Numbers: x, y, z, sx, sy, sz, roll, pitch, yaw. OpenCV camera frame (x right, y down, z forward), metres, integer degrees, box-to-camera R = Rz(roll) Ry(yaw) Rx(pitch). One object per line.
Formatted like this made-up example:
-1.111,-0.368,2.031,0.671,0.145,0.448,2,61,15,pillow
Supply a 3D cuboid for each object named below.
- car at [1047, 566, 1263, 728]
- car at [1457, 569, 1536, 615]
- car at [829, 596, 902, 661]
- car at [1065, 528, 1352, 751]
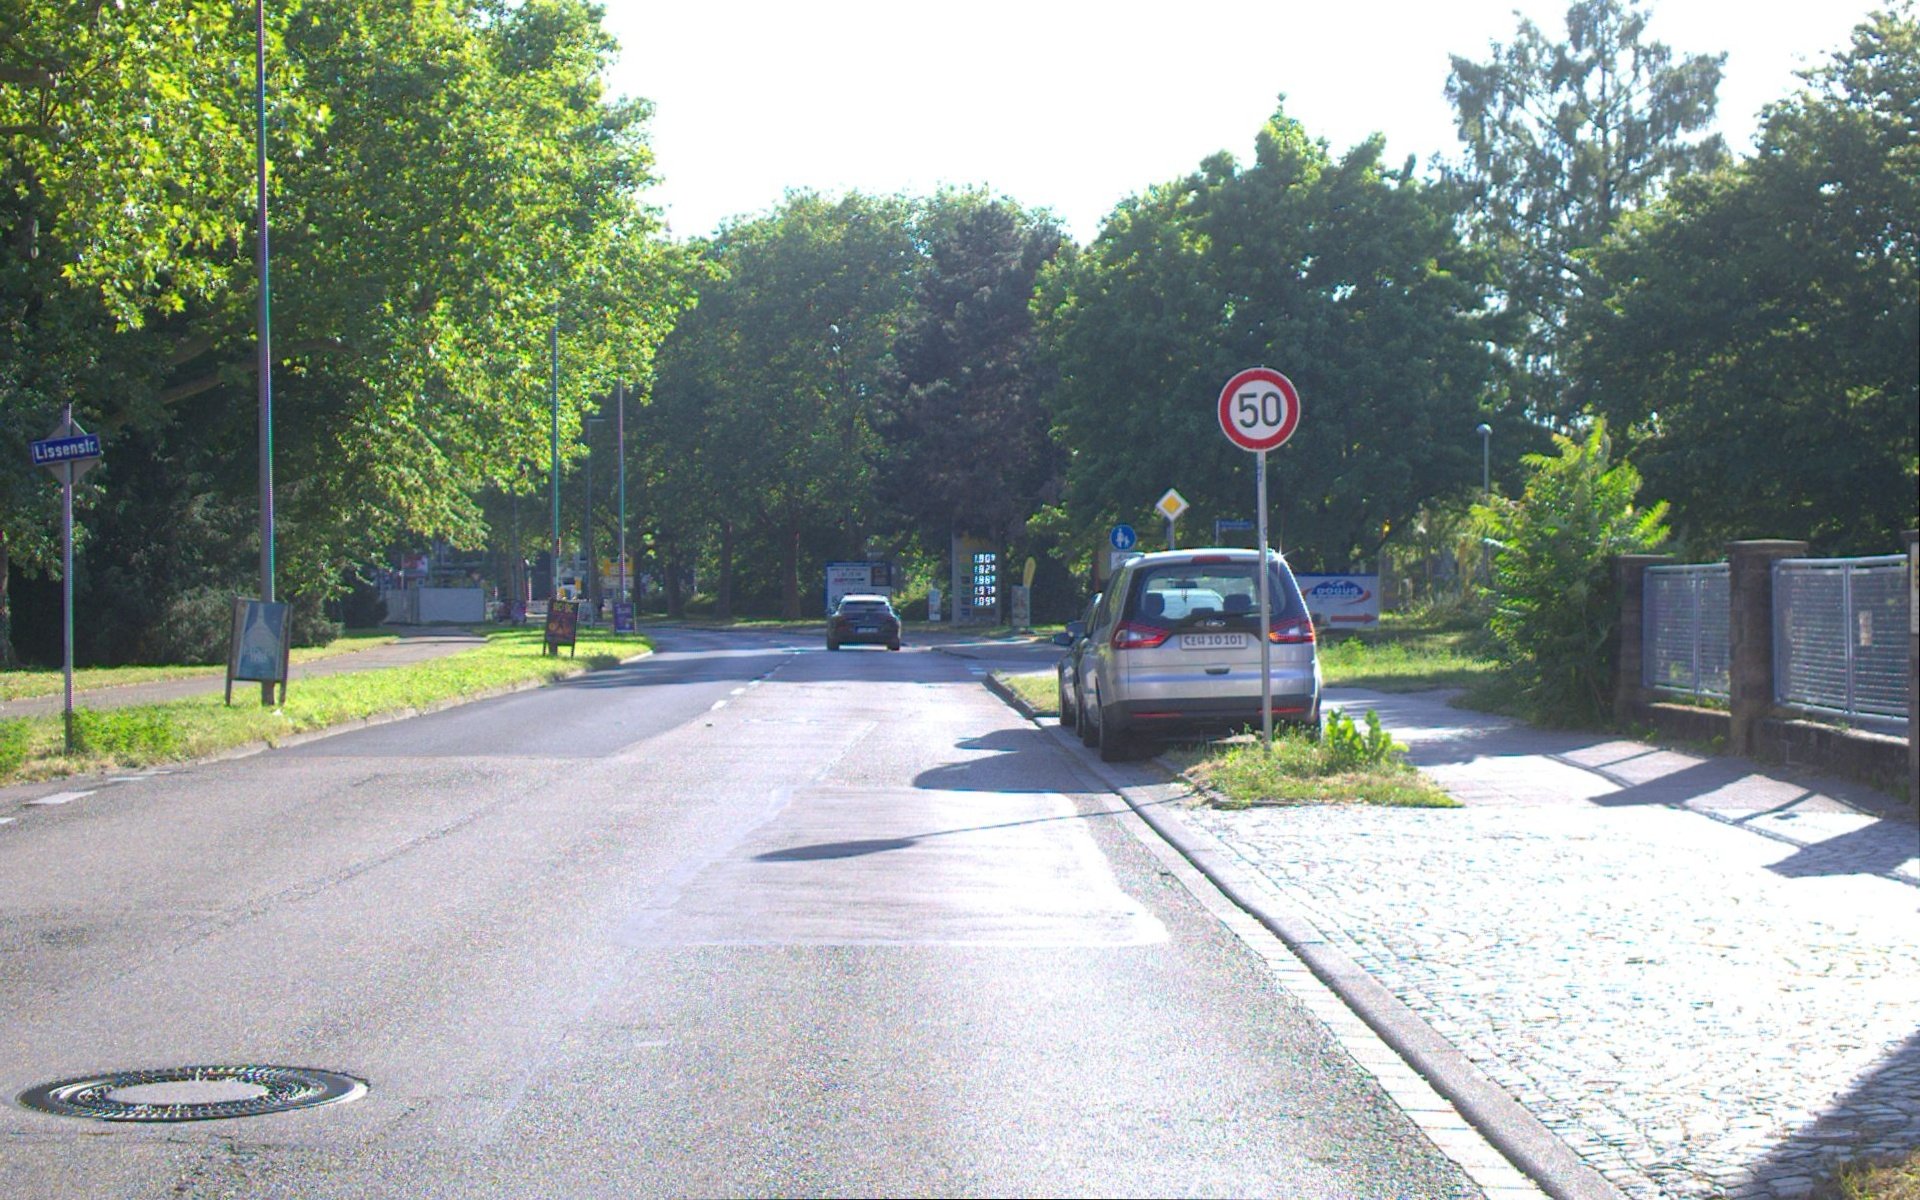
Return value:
1.921,0.440,35.150,1.782,1.510,4.690,-1,0,-1,car
21.244,-0.317,136.285,1.812,1.722,4.399,2,0,-8,car
-2.434,0.732,89.529,1.839,1.600,3.863,-1,0,-1,car
2.061,0.326,29.903,1.993,1.753,4.917,-1,0,-1,car
